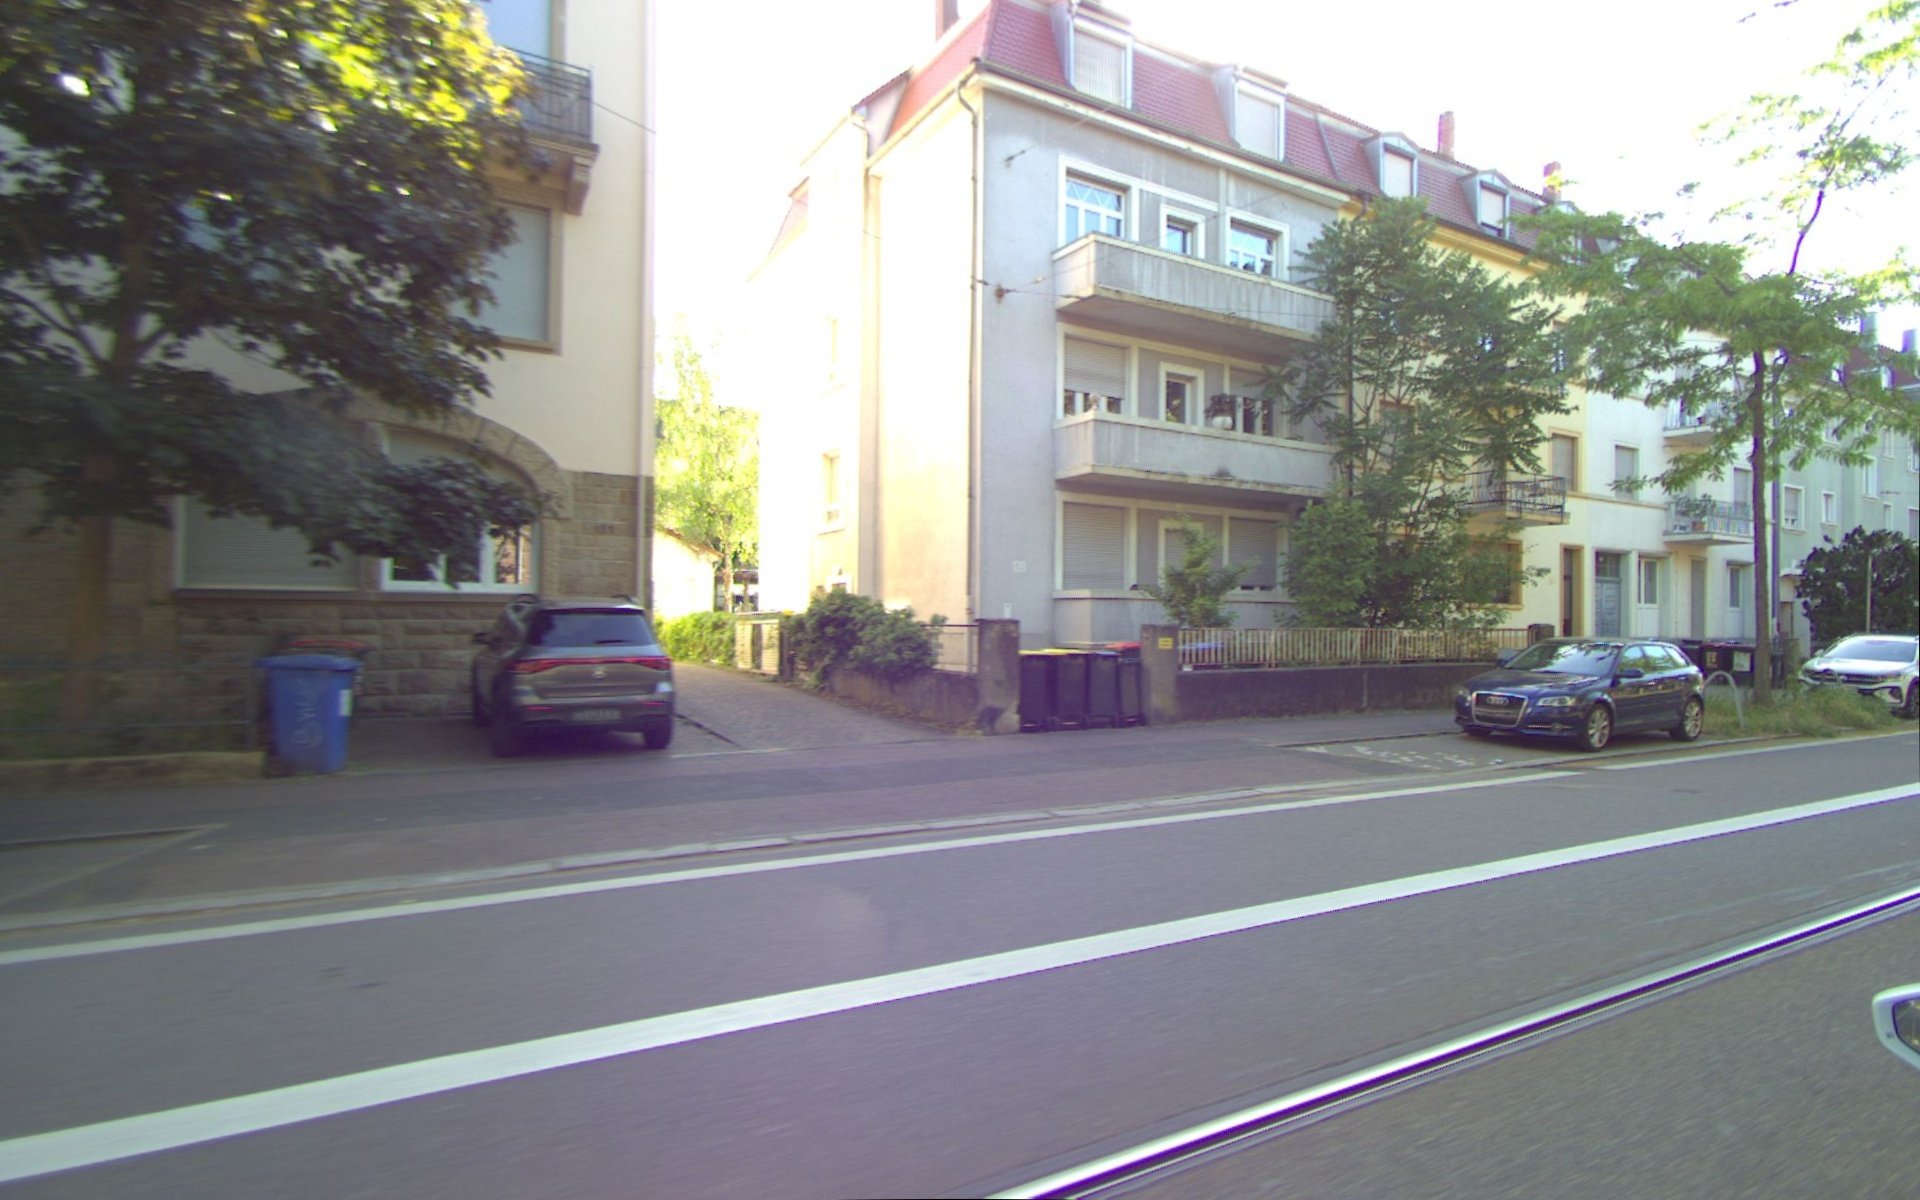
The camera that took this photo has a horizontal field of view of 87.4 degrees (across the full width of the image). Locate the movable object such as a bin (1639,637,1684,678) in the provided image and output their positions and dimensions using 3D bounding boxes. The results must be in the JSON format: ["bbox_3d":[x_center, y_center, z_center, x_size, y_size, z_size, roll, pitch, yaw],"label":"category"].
[{"bbox_3d":[18.760,1.530,26.883,0.723,1.060,0.705,1,1,-27],"label":"movable object such as a bin"}]

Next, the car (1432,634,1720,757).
[{"bbox_3d":[8.714,1.237,14.112,4.285,1.425,1.696,1,0,-32],"label":"car"}]

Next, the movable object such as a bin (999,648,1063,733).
[{"bbox_3d":[0.938,1.177,13.285,0.662,1.080,0.538,1,-1,-30],"label":"movable object such as a bin"}]

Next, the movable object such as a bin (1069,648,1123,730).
[{"bbox_3d":[1.871,1.209,13.842,0.504,1.080,0.544,1,-1,-30],"label":"movable object such as a bin"}]

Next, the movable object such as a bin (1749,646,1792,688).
[{"bbox_3d":[20.019,1.647,24.811,0.723,0.989,0.557,1,1,-27],"label":"movable object such as a bin"}]

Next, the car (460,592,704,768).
[{"bbox_3d":[-4.620,0.774,11.862,1.961,1.681,4.144,1,0,-31],"label":"car"}]

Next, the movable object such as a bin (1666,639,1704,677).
[{"bbox_3d":[19.753,1.575,27.379,0.723,0.989,0.557,1,1,-27],"label":"movable object such as a bin"}]

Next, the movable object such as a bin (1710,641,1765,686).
[{"bbox_3d":[19.698,1.606,25.448,0.723,1.060,0.841,1,1,-27],"label":"movable object such as a bin"}]

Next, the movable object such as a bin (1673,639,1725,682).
[{"bbox_3d":[19.267,1.566,26.195,0.723,1.060,0.841,1,1,-27],"label":"movable object such as a bin"}]

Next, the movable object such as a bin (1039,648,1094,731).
[{"bbox_3d":[1.437,1.197,13.582,0.504,1.080,0.544,1,-1,-30],"label":"movable object such as a bin"}]

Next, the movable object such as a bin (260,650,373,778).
[{"bbox_3d":[-5.901,1.013,9.264,0.804,1.080,0.871,1,-1,-30],"label":"movable object such as a bin"}]

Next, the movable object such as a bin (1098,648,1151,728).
[{"bbox_3d":[2.308,1.222,14.096,0.504,1.080,0.534,1,-1,-30],"label":"movable object such as a bin"}]

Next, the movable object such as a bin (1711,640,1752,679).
[{"bbox_3d":[20.288,1.559,26.415,0.723,0.989,0.557,1,1,-27],"label":"movable object such as a bin"}]

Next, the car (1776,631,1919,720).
[{"bbox_3d":[18.296,1.437,20.051,4.322,1.531,1.807,1,0,-32],"label":"car"}]

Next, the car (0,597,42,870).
[{"bbox_3d":[-7.328,0.728,4.493,4.433,1.562,1.768,1,0,-31],"label":"car"}]

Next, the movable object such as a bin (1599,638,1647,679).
[{"bbox_3d":[18.232,1.598,27.639,0.723,1.060,0.841,1,1,-27],"label":"movable object such as a bin"}]
